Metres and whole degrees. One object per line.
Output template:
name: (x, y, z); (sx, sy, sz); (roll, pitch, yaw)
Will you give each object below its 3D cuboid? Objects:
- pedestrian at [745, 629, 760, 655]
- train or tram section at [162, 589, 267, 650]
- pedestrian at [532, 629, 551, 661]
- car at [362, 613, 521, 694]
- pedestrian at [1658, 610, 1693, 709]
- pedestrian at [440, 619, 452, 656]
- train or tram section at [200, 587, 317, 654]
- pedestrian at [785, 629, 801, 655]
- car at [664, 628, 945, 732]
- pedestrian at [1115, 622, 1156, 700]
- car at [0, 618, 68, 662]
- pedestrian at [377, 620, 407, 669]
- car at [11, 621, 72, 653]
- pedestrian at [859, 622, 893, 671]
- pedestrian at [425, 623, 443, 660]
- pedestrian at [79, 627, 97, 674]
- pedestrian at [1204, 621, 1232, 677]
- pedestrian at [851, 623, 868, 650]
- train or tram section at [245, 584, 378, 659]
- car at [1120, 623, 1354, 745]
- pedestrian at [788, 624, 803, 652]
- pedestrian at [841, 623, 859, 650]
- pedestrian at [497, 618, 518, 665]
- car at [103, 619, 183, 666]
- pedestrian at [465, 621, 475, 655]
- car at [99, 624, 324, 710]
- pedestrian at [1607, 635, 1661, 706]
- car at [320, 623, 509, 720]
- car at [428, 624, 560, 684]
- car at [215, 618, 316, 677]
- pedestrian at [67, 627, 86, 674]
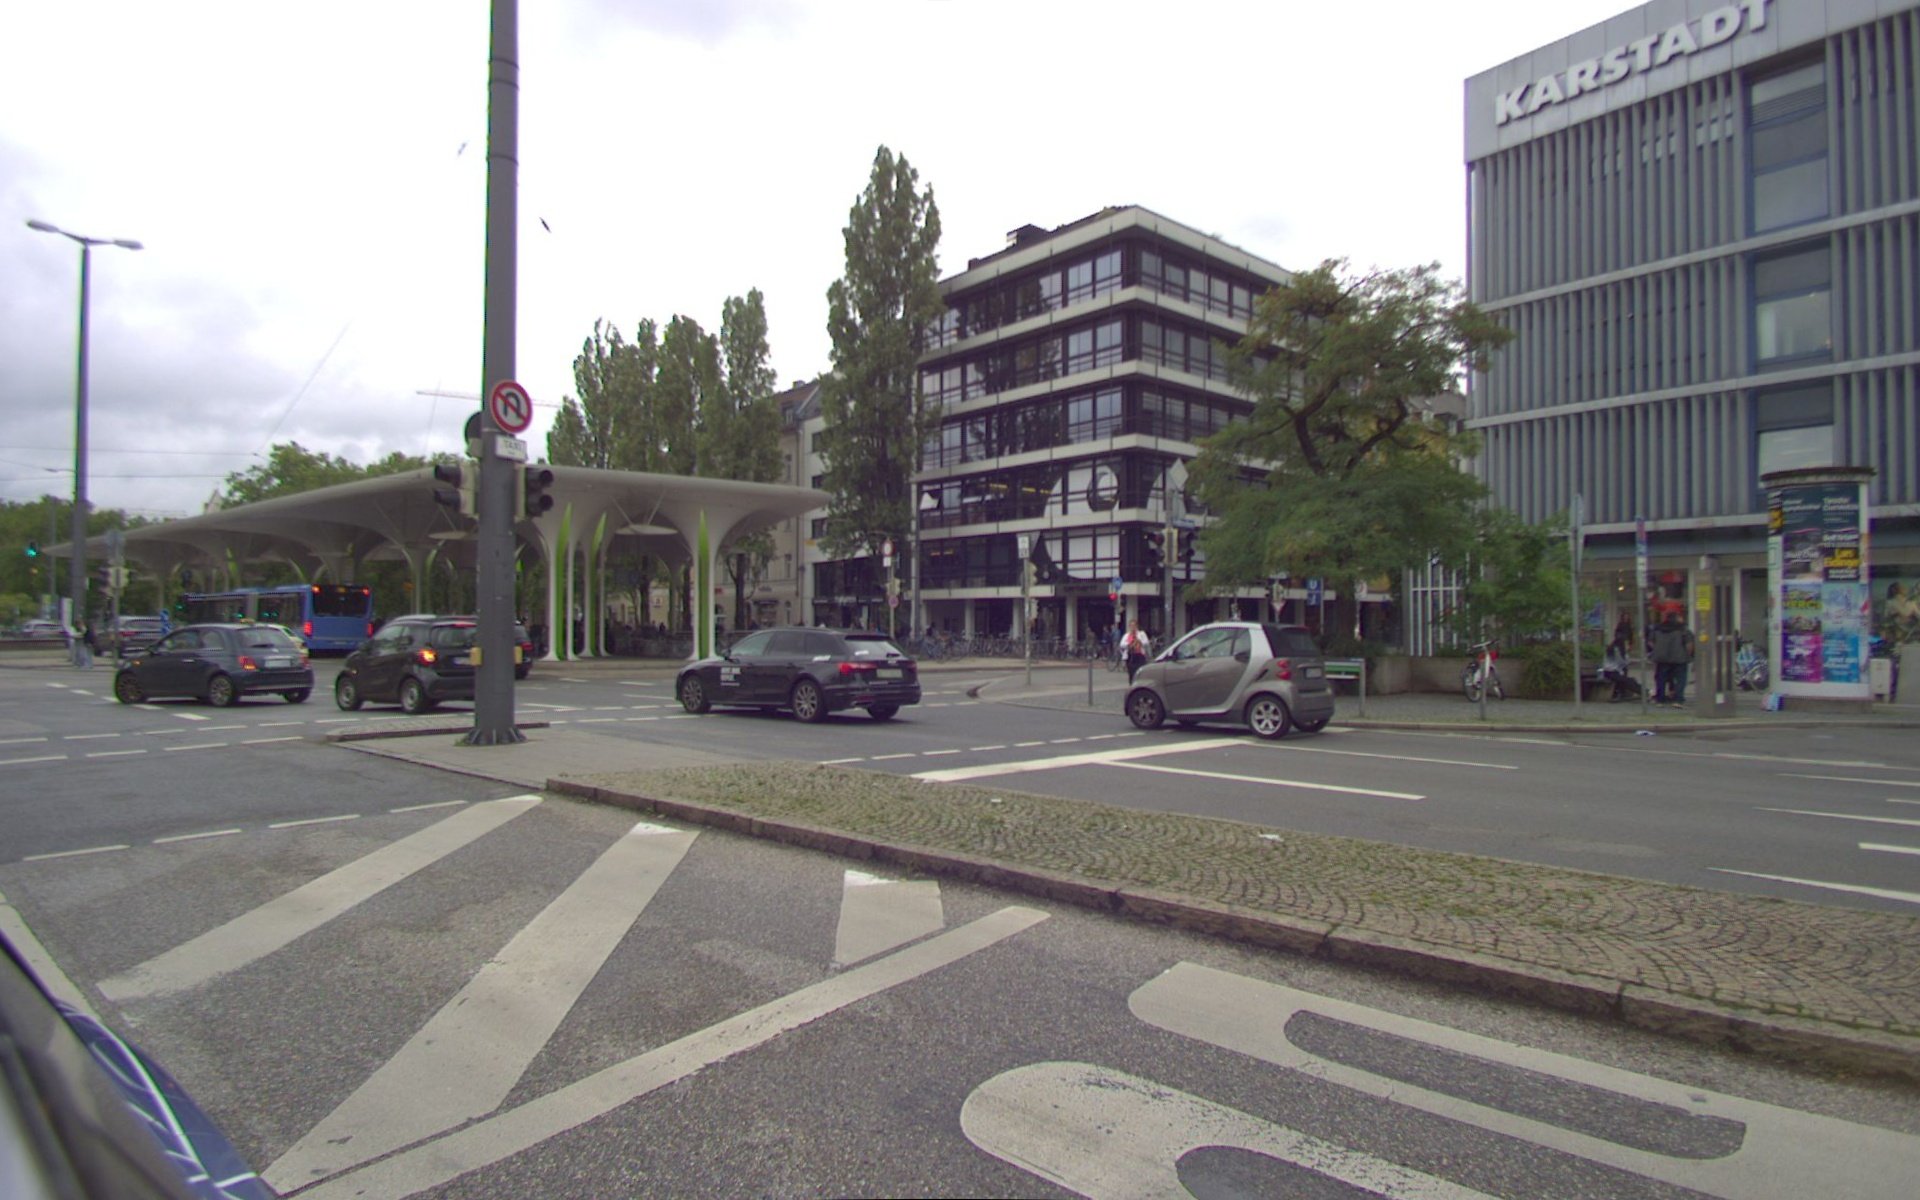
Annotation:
pedestrian: (-13.764, 2.758, 67.164); (0.821, 1.712, 0.907); (1, -2, -20)
train or tram section: (-39.620, 1.086, 53.685); (7.401, 3.024, 2.804); (-1, -2, 40)
pedestrian: (-17.804, 1.897, 43.079); (0.591, 1.348, 0.542); (-2, -2, 40)
car: (-12.737, 1.251, 24.752); (4.305, 1.785, 1.973); (-1, -3, 41)
pedestrian: (12.627, 1.030, 17.851); (0.459, 1.712, 0.426); (-1, 0, 40)
pedestrian: (-21.079, 1.549, 41.508); (0.316, 1.514, 0.317); (-1, -2, 31)
train or tram section: (-33.978, 1.024, 48.915); (7.401, 3.024, 2.804); (-1, -2, 40)
pedestrian: (-11.090, 2.796, 67.153); (0.821, 1.712, 0.907); (1, -2, -28)
car: (-2.602, 1.175, 16.254); (4.613, 1.427, 1.973); (-2, -2, 41)
pedestrian: (3.631, 1.242, 20.908); (0.754, 1.563, 0.636); (-1, 0, 15)
car: (-35.127, 1.464, 38.060); (3.998, 1.481, 1.898); (-1, 0, 41)
pedestrian: (-20.936, 1.636, 37.328); (0.787, 1.762, 0.702); (-2, -2, 40)
car: (-47.656, 1.873, 52.498); (3.997, 1.549, 1.824); (-1, 0, 40)
pedestrian: (-3.180, 1.748, 38.197); (0.980, 1.791, 0.850); (-2, -2, 41)
pedestrian: (-21.637, 1.709, 41.638); (0.424, 1.514, 0.486); (-1, -2, 21)
pedestrian: (-27.057, 1.564, 31.410); (0.380, 1.430, 0.352); (-2, -2, 40)
pedestrian: (8.273, 1.565, 32.402); (0.647, 1.748, 0.757); (-1, -2, 33)
pedestrian: (-6.569, 2.352, 66.062); (0.788, 1.737, 0.827); (1, -2, -38)
train or tram section: (-28.355, 0.958, 44.130); (7.401, 3.024, 2.804); (-1, -2, 40)
car: (3.869, 1.103, 14.260); (2.746, 1.527, 1.652); (-2, -2, 41)
pedestrian: (-10.314, 2.383, 63.573); (0.938, 1.786, 0.984); (0, -2, -8)
pedestrian: (-7.089, 2.360, 65.253); (0.788, 1.737, 0.827); (1, -2, -38)
pedestrian: (-17.970, 1.640, 40.150); (0.656, 1.865, 0.790); (1, -2, -30)
car: (-32.628, 1.648, 40.398); (3.998, 1.696, 1.824); (-1, 0, 41)
pedestrian: (-20.252, 1.563, 41.834); (0.257, 1.387, 0.299); (-1, -2, 38)
car: (-13.838, 1.214, 18.755); (3.358, 1.491, 1.620); (-1, -3, 16)
pedestrian: (12.887, 1.324, 19.352); (0.773, 1.318, 0.537); (-2, -2, 41)
car: (-9.256, 1.149, 17.186); (2.775, 1.518, 1.547); (-1, -2, 27)
car: (-13.298, 1.489, 28.788); (3.997, 1.597, 1.907); (-2, -2, 40)
car: (-22.106, 1.461, 32.166); (3.998, 1.696, 1.738); (-1, 0, 41)
pedestrian: (-27.477, 1.568, 31.475); (0.380, 1.430, 0.352); (-2, -2, 40)
